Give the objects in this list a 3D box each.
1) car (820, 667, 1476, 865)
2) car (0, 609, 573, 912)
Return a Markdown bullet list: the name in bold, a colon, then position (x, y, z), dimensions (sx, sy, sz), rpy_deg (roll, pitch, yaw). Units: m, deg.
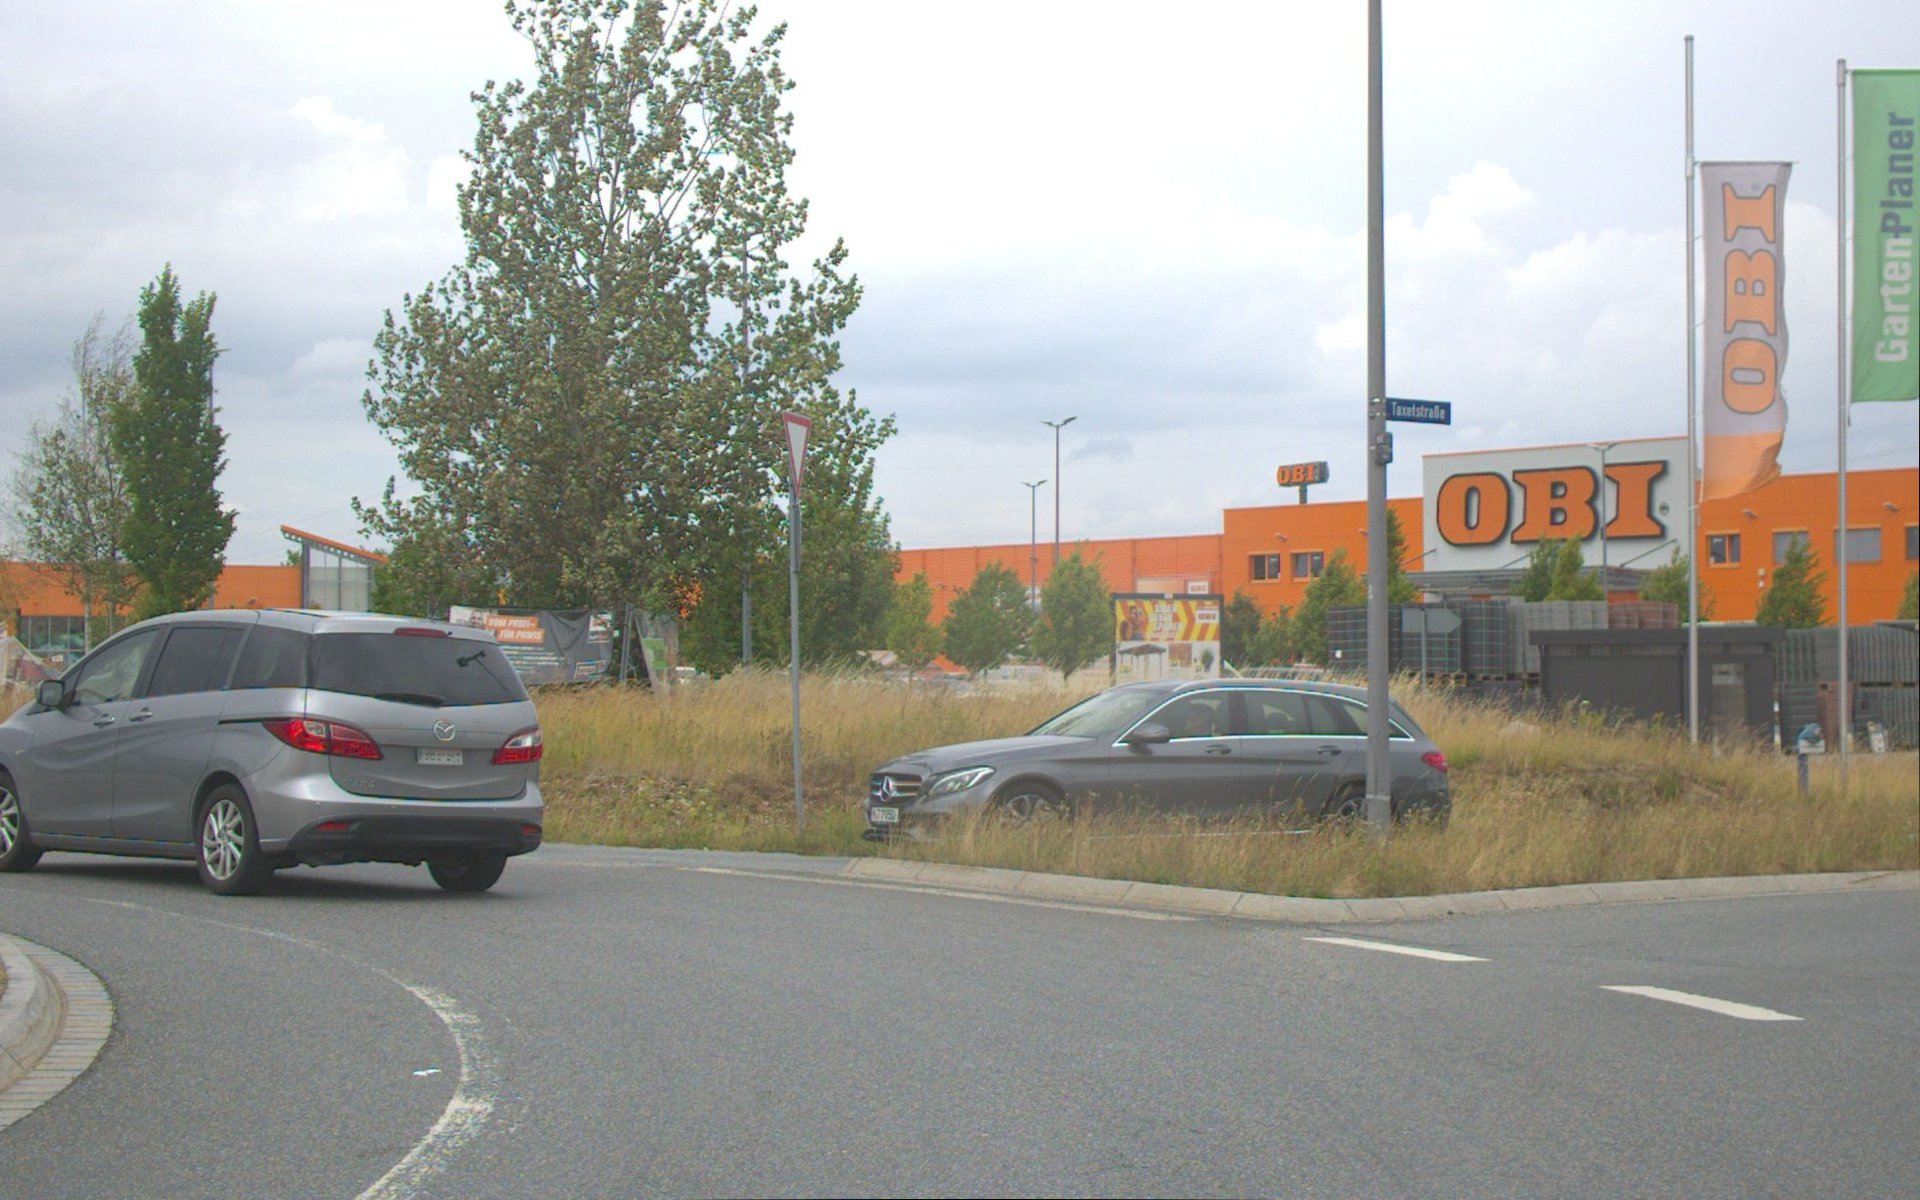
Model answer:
- **car**: position (1.469, 1.287, 26.514), dimensions (4.671, 1.399, 1.929), rpy_deg (2, -2, -26)
- **car**: position (-4.128, 0.889, 20.207), dimensions (1.738, 1.593, 3.996), rpy_deg (2, -2, -40)
